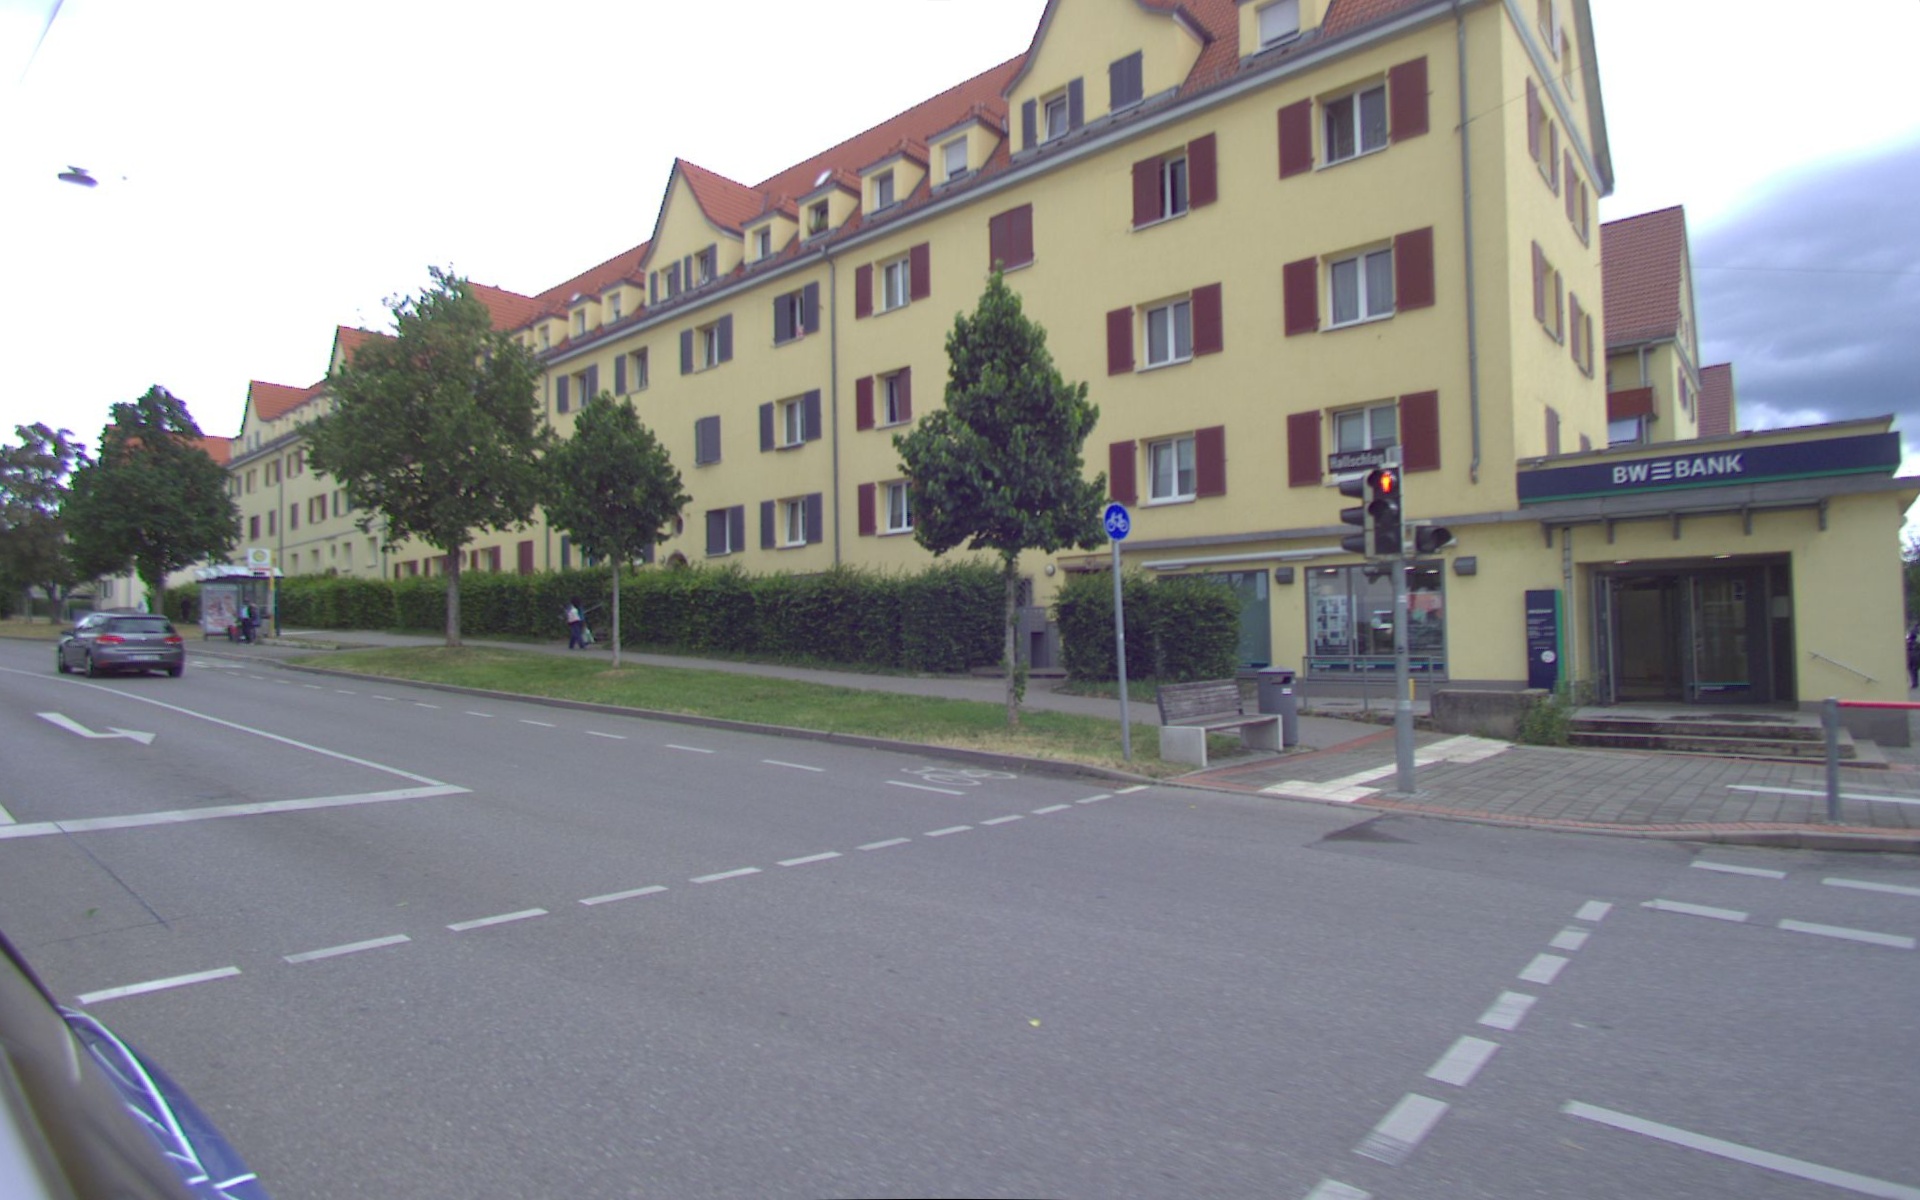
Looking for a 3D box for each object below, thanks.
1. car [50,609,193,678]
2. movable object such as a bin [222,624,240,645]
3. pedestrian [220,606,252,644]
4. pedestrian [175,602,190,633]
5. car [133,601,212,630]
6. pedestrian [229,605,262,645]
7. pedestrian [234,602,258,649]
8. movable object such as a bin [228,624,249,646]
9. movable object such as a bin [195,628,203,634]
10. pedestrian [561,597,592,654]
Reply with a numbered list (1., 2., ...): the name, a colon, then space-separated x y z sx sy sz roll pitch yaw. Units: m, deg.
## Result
1. car: -19.829 1.021 23.878 4.302 1.484 1.738 -1 -4 40
2. movable object such as a bin: -29.227 1.378 40.563 0.665 0.832 0.459 -1 0 42
3. pedestrian: -29.103 1.014 40.692 0.806 1.485 0.890 -1 0 41
4. pedestrian: -44.847 1.001 58.369 0.753 1.793 0.508 -1 -1 40
5. car: -62.350 1.252 80.200 1.994 2.270 4.669 -1 -2 41
6. pedestrian: -28.144 0.977 39.859 0.806 1.521 0.890 -1 0 41
7. pedestrian: -26.732 0.932 37.890 0.861 1.740 0.591 -1 -1 43
8. movable object such as a bin: -28.306 1.366 39.681 0.665 0.852 0.531 -1 0 42
9. movable object such as a bin: -44.269 1.808 58.898 0.303 0.350 0.582 1 -1 -44
10. pedestrian: -11.290 0.750 29.797 0.617 1.631 0.634 -1 -1 40
